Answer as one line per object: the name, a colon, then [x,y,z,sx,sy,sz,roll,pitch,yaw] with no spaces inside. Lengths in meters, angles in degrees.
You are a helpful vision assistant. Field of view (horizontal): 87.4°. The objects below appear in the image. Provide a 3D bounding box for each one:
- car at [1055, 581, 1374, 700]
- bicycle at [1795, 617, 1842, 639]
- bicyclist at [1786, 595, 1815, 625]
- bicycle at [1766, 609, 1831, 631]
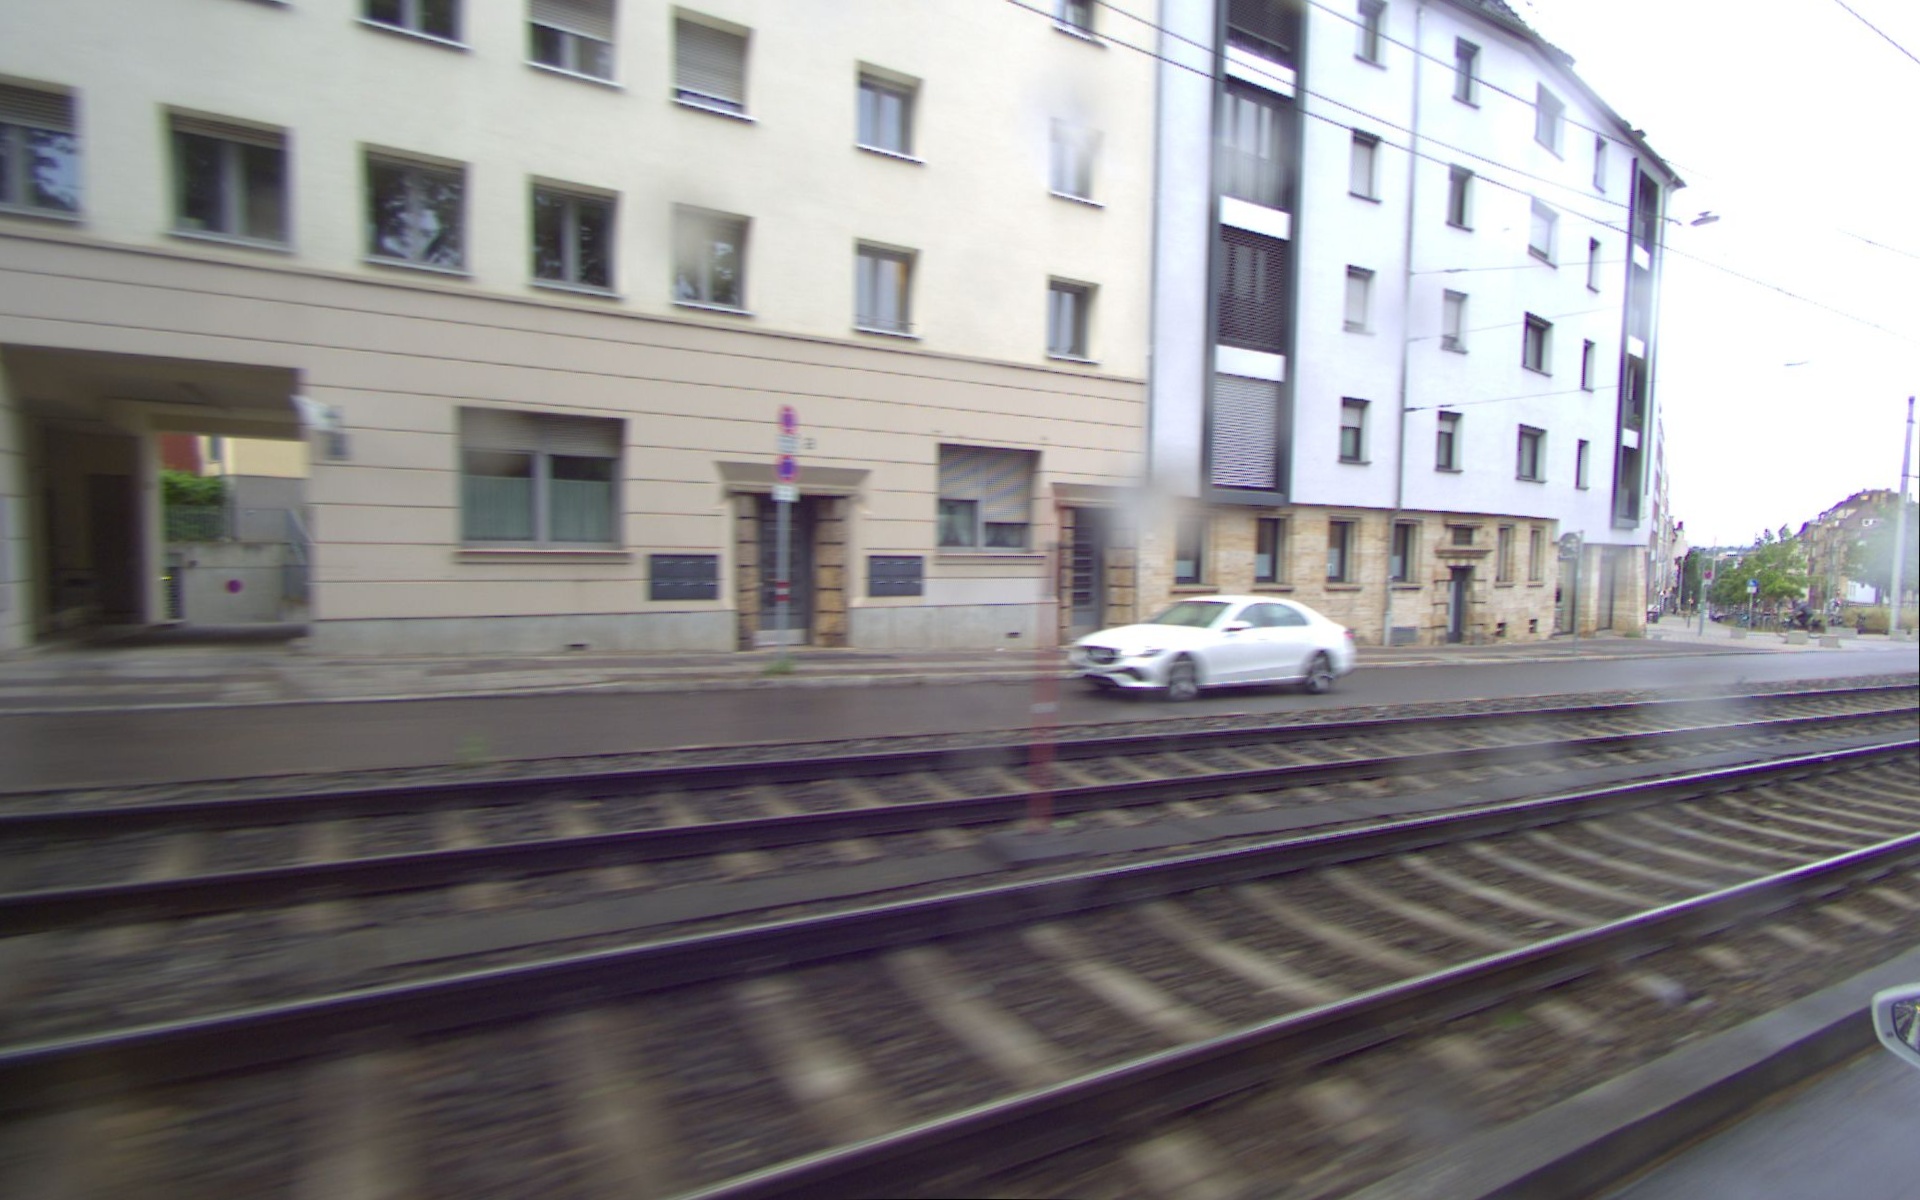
car: [3.898,0.565,15.110,4.785,1.502,1.790,1,2,-32]
bicycle: [47.091,1.517,55.112,0.564,1.075,1.802,1,2,-33]
bicyclist: [37.855,0.451,45.255,0.759,1.331,0.791,1,1,21]
bicycle: [37.763,0.890,45.285,2.064,0.955,0.815,1,1,22]
